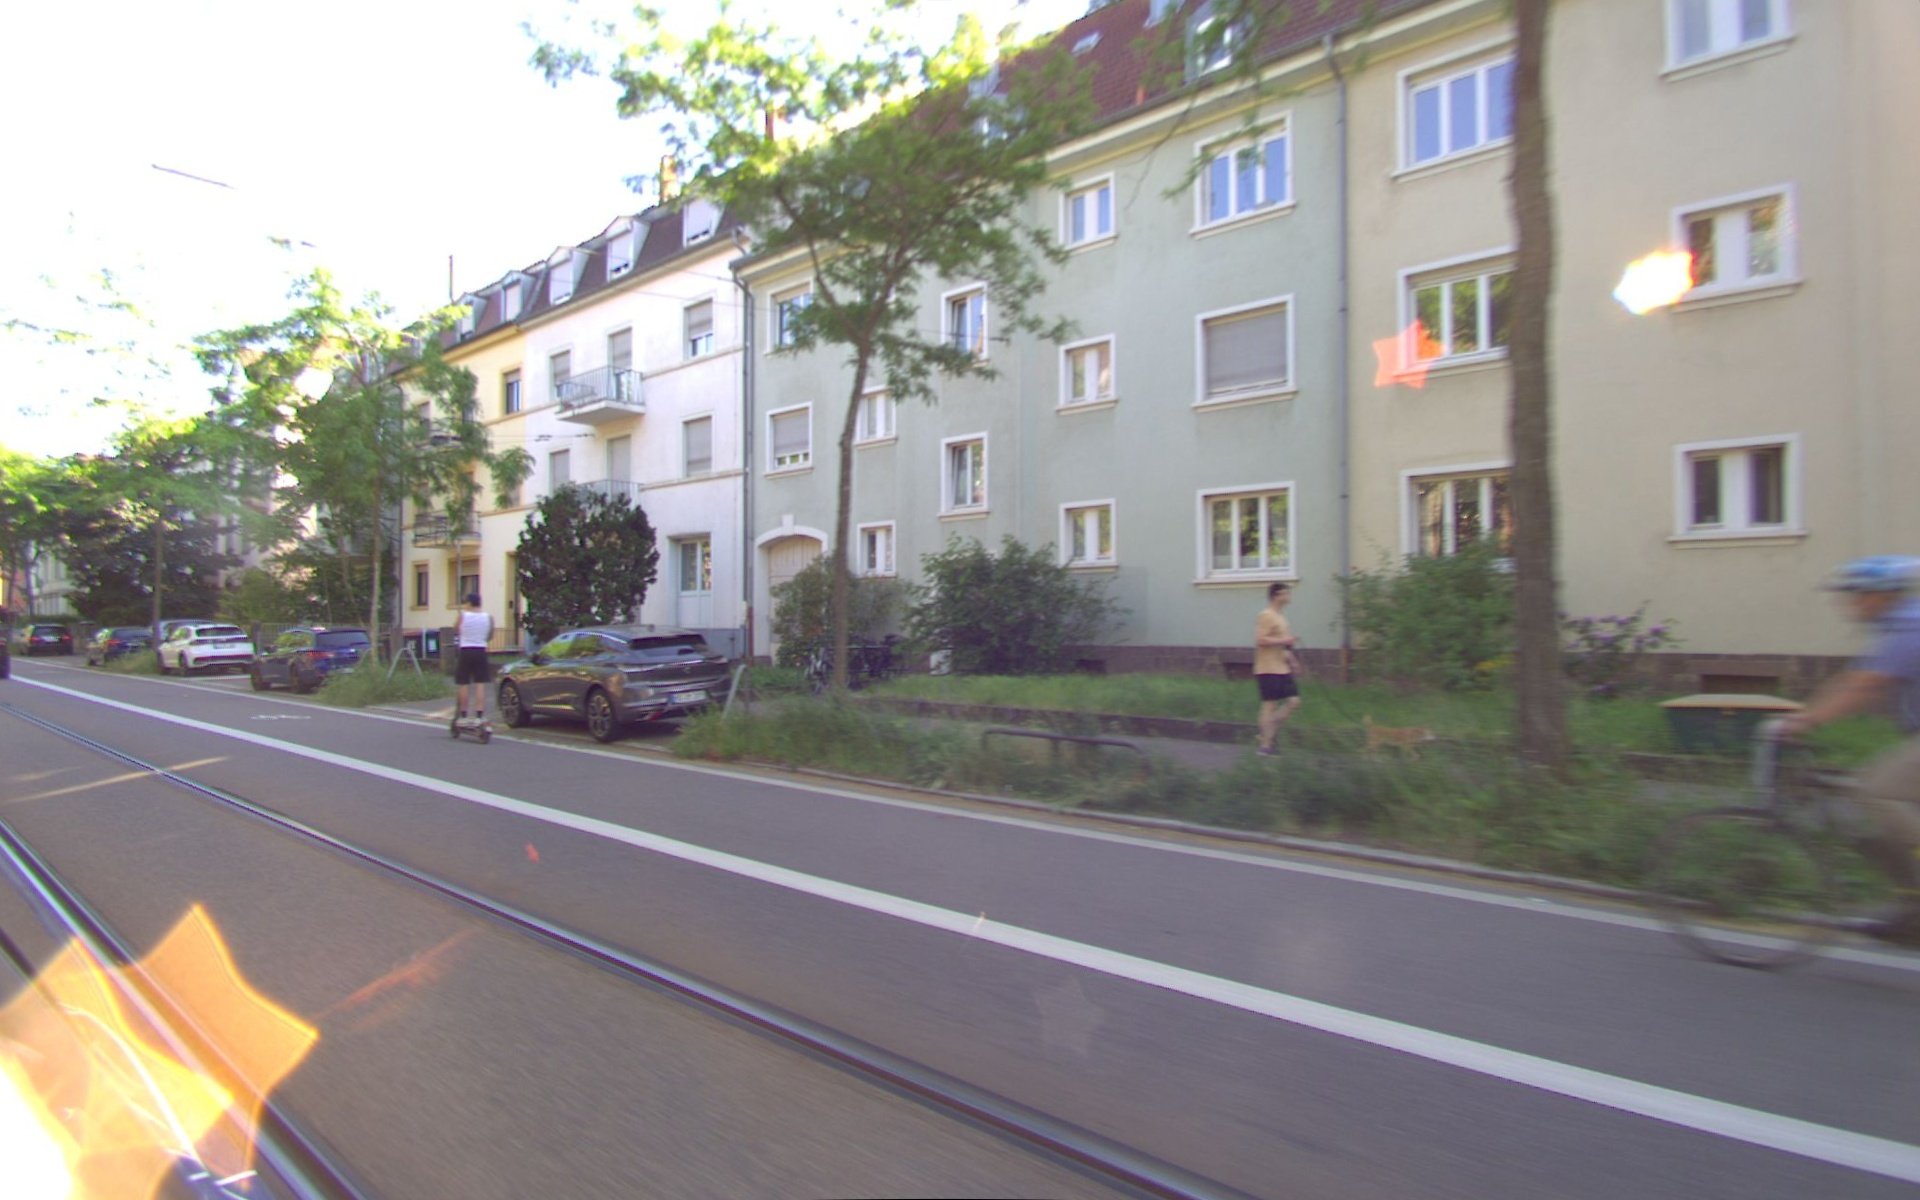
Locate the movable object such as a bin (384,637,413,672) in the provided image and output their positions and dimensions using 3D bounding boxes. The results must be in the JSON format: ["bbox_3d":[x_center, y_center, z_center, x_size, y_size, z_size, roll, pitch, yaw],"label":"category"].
[{"bbox_3d":[-16.798,1.625,30.294,0.733,0.983,0.553,-2,0,44],"label":"movable object such as a bin"}]

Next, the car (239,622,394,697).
[{"bbox_3d":[-14.890,1.311,23.328,4.435,1.522,1.740,-2,-1,40],"label":"car"}]

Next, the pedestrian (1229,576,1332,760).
[{"bbox_3d":[3.341,0.685,10.547,0.813,1.815,0.684,-2,-2,41],"label":"pedestrian"}]

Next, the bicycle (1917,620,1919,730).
[{"bbox_3d":[10.001,0.826,10.060,0.521,1.186,1.888,-1,0,38],"label":"bicycle"}]

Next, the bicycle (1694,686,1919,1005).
[{"bbox_3d":[4.076,0.966,3.944,1.912,1.186,0.620,-1,-4,41],"label":"bicycle"}]

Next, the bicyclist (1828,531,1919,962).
[{"bbox_3d":[4.061,0.571,3.986,0.939,1.652,0.619,-2,-4,41],"label":"bicyclist"}]

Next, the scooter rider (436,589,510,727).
[{"bbox_3d":[-6.253,0.737,12.998,0.786,1.712,0.491,-2,-5,41],"label":"scooter rider"}]

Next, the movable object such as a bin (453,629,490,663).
[{"bbox_3d":[-15.696,1.471,32.511,0.733,1.054,0.835,-2,0,44],"label":"movable object such as a bin"}]

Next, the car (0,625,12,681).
[{"bbox_3d":[-27.144,1.425,27.320,4.519,1.450,1.740,-1,-1,40],"label":"car"}]

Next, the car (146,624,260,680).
[{"bbox_3d":[-22.840,1.512,30.485,4.367,1.522,1.799,-2,-1,40],"label":"car"}]

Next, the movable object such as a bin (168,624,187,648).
[{"bbox_3d":[-34.480,1.576,44.601,0.510,1.074,0.541,-2,-2,41],"label":"movable object such as a bin"}]

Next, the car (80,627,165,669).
[{"bbox_3d":[-31.275,1.754,37.754,4.330,1.417,1.688,-2,-1,40],"label":"car"}]

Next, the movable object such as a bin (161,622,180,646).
[{"bbox_3d":[-35.381,1.530,45.341,0.670,1.074,0.535,-2,-2,41],"label":"movable object such as a bin"}]

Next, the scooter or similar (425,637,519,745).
[{"bbox_3d":[-6.264,1.143,12.969,1.377,1.307,0.515,-2,-5,41],"label":"scooter or similar"}]

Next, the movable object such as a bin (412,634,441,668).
[{"bbox_3d":[-16.245,1.546,30.805,0.733,0.983,0.553,-2,0,44],"label":"movable object such as a bin"}]

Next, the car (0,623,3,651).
[{"bbox_3d":[-65.189,2.459,67.151,4.766,1.837,1.852,-1,-1,39],"label":"car"}]

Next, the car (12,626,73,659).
[{"bbox_3d":[-45.767,2.099,50.462,4.483,1.553,1.758,-2,-1,41],"label":"car"}]

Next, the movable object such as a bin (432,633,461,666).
[{"bbox_3d":[-15.861,1.526,31.257,0.733,0.983,0.553,-2,0,44],"label":"movable object such as a bin"}]

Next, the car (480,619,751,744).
[{"bbox_3d":[-5.034,1.061,14.504,4.204,1.496,1.798,-2,-1,41],"label":"car"}]

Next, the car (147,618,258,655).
[{"bbox_3d":[-37.936,1.795,50.732,1.981,1.671,4.125,-1,-1,39],"label":"car"}]
